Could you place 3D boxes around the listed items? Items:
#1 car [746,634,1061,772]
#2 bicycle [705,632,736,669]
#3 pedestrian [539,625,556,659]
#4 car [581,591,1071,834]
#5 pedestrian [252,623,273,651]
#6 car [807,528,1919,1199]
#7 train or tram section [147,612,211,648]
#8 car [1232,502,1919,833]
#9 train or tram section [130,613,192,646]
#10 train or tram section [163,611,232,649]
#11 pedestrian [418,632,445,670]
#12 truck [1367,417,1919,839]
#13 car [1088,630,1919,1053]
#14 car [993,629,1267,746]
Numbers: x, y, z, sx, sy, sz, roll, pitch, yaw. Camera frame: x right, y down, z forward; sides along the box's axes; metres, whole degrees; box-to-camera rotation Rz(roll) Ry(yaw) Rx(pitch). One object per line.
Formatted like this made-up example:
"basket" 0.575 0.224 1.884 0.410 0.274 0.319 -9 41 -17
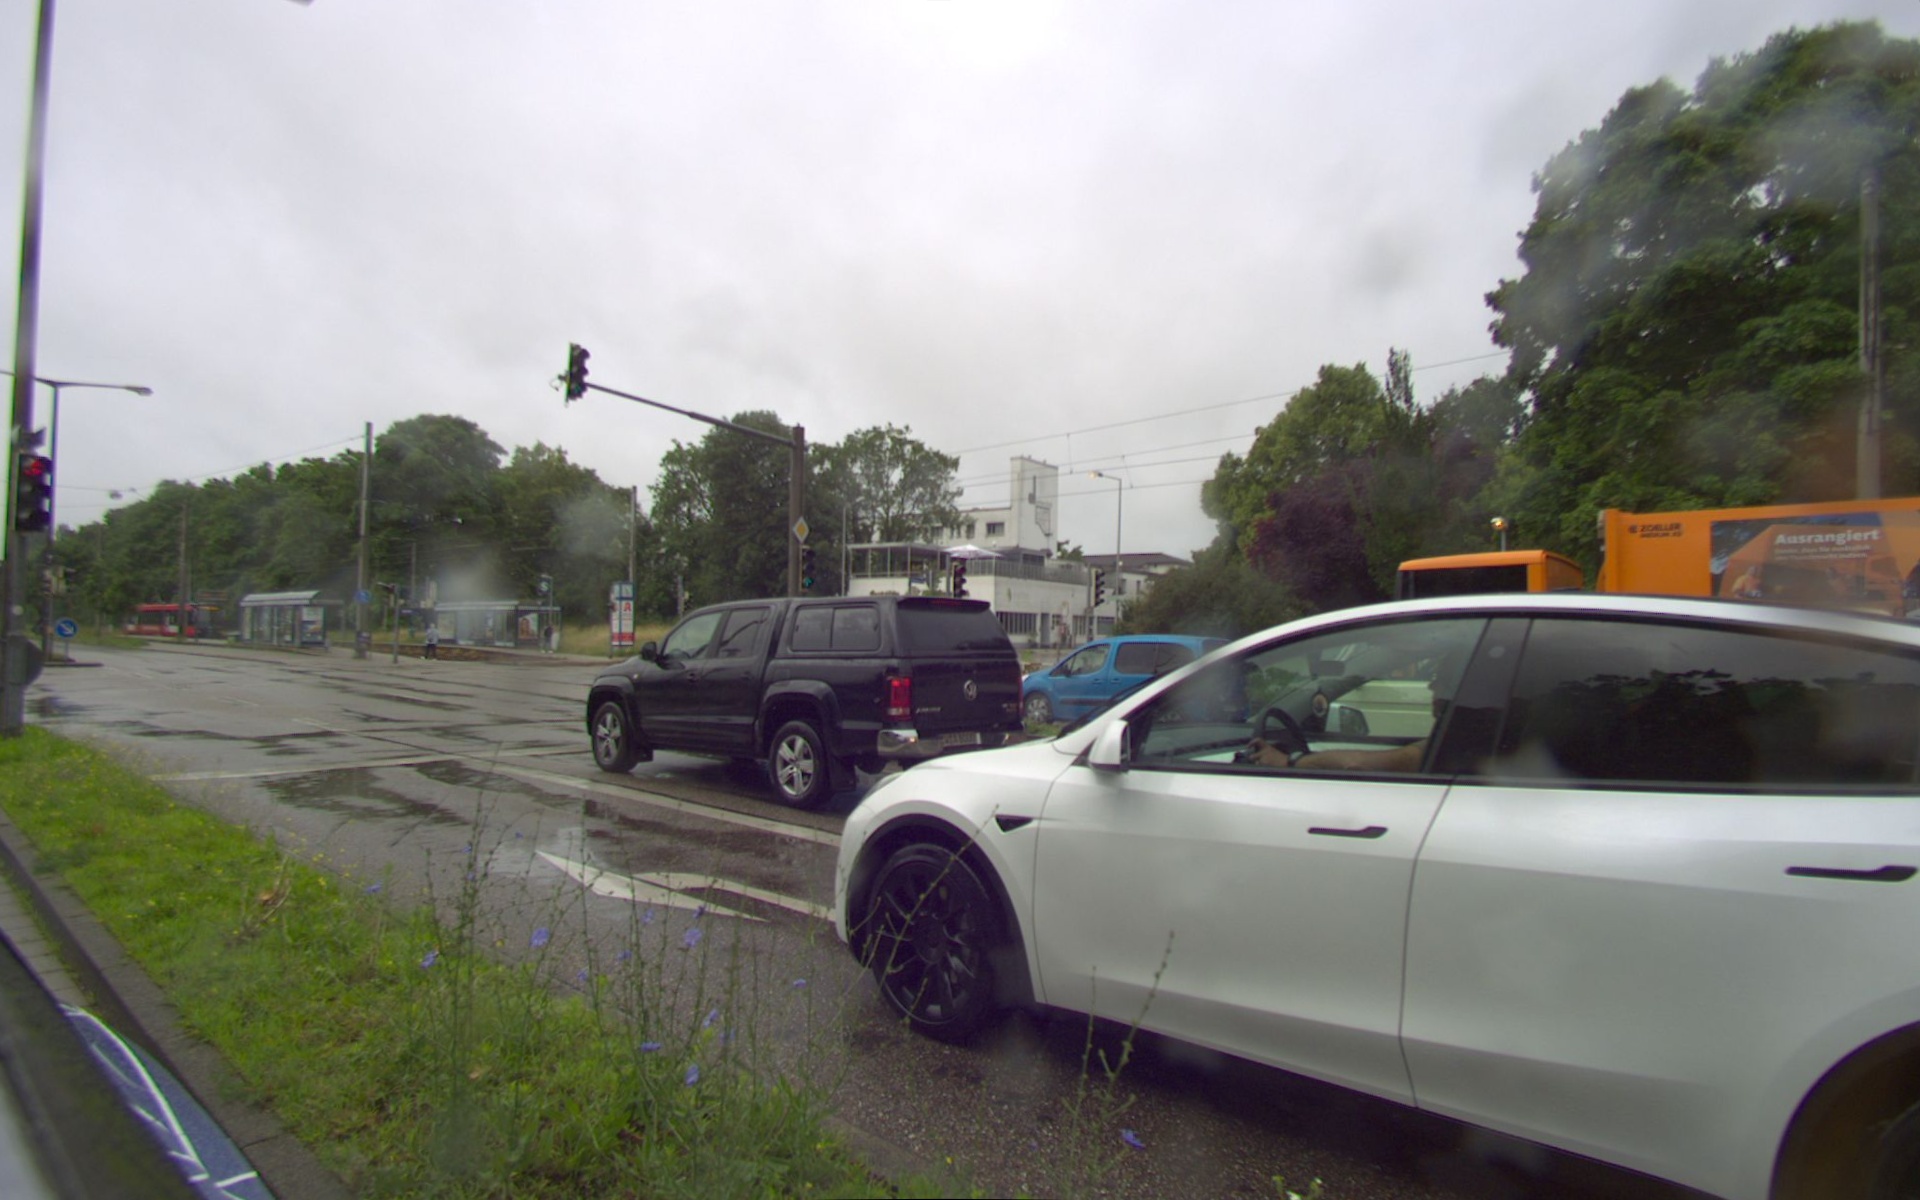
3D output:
"car" -0.826 1.230 13.056 3.996 1.438 1.624 0 -4 40
"bicycle" -12.037 2.520 50.777 1.734 1.774 0.633 -2 -3 43
"pedestrian" -22.865 2.324 56.103 0.681 1.806 0.623 -1 0 41
"car" -1.533 0.911 9.814 5.087 1.787 1.786 -1 -4 41
"pedestrian" -40.861 2.170 59.267 0.929 1.609 0.795 -1 -3 45
"car" 1.807 0.733 3.100 4.695 1.629 1.940 -1 -3 41
"train or tram section" -78.445 2.994 101.540 9.277 3.416 3.494 -1 -3 43
"car" 4.893 0.506 8.421 4.741 2.033 1.908 -1 -5 42
"train or tram section" -85.140 3.131 107.736 10.260 3.427 3.494 -1 -3 43
"train or tram section" -72.157 2.864 95.710 9.277 3.415 3.494 -1 -3 43
"pedestrian" -23.832 2.281 45.662 0.799 1.670 0.776 0 0 24
"truck" 10.488 0.276 11.477 10.403 4.199 3.349 0 0 42
"car" 3.091 1.036 5.774 4.426 1.581 1.782 0 -3 41
"car" 2.933 1.434 18.119 4.526 1.722 1.972 0 0 43
